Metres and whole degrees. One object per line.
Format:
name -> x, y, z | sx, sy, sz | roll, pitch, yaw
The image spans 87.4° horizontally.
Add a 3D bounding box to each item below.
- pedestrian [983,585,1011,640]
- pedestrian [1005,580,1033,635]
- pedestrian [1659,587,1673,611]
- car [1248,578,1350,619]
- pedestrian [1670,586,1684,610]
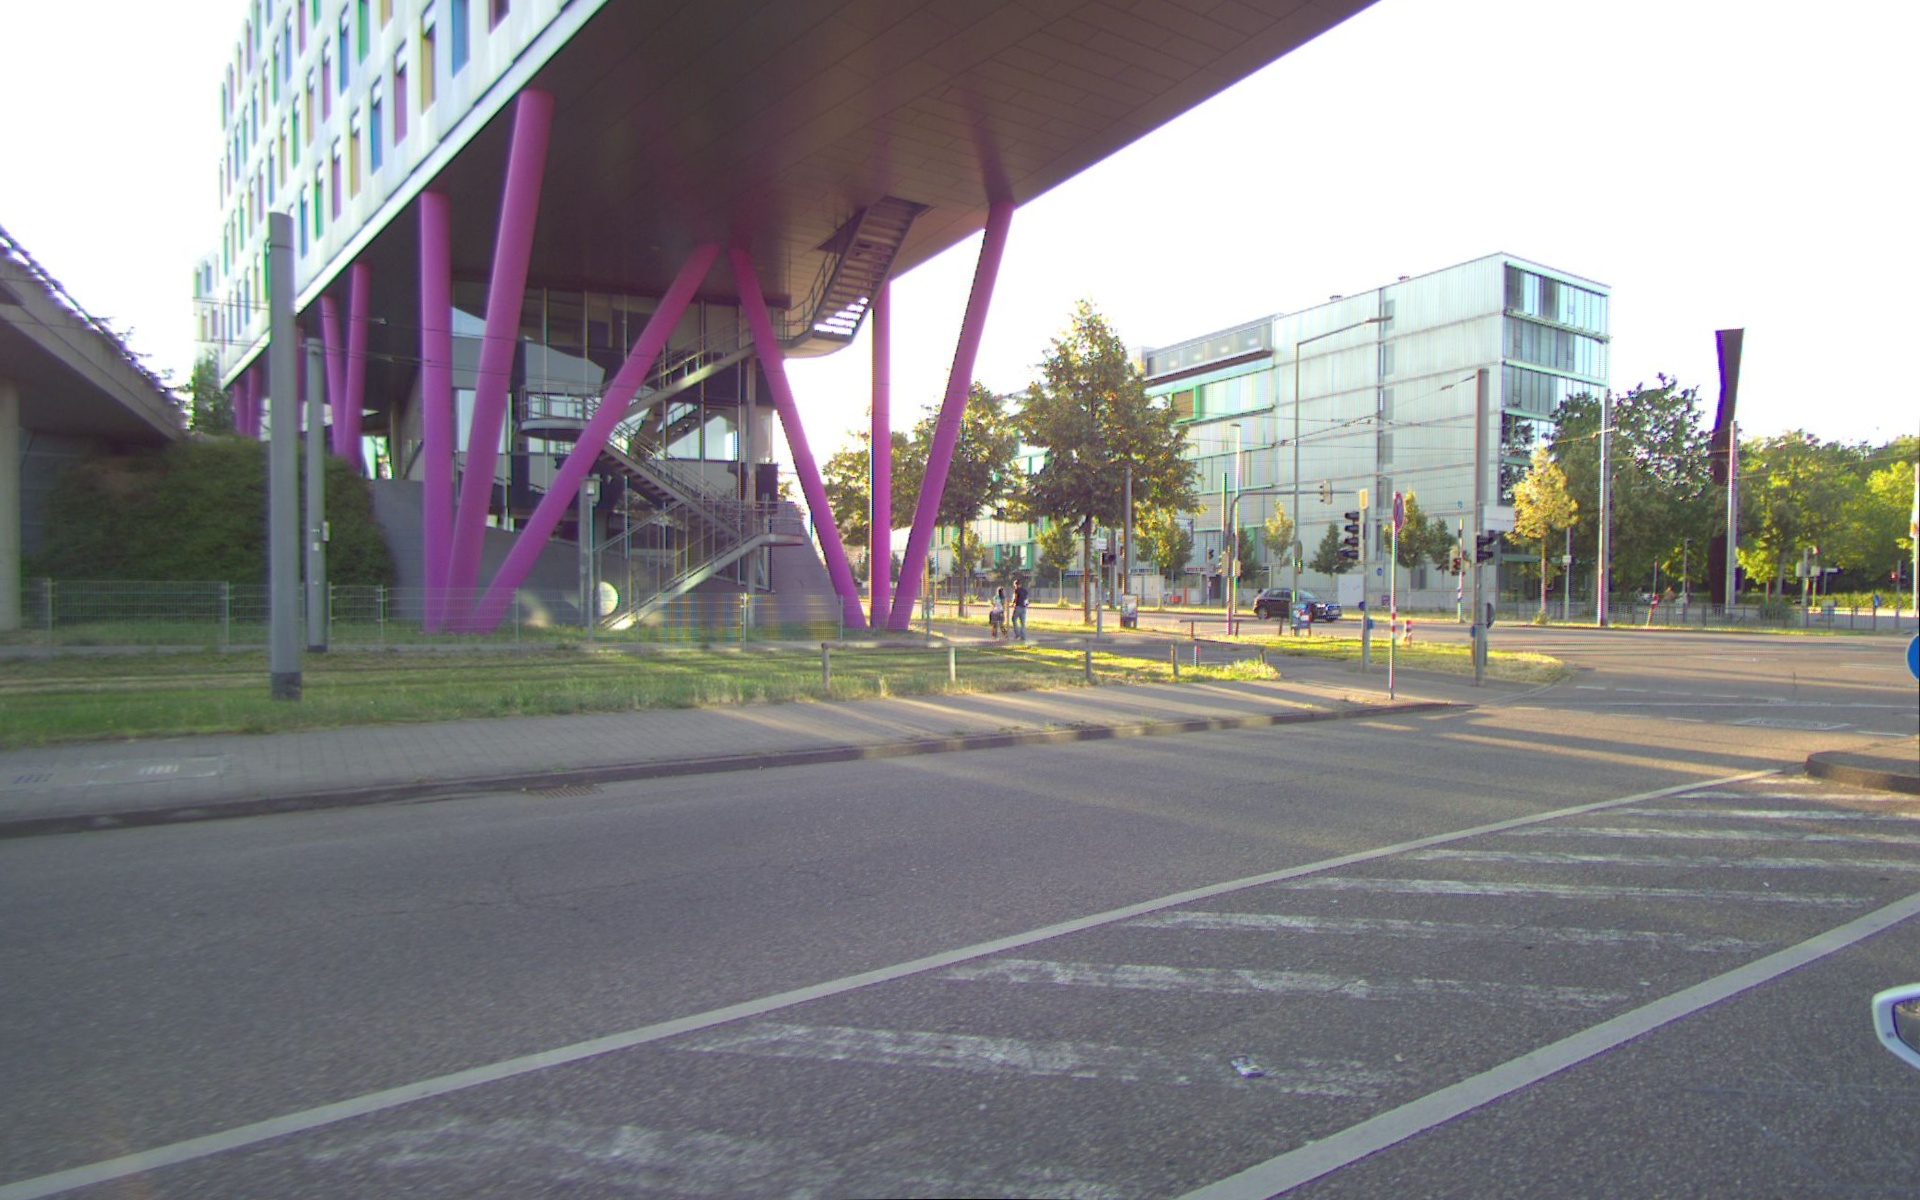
pedestrian -> 1.137, 0.378, 31.157 | 0.699, 1.646, 0.686 | -1, 2, -13
pedestrian -> 1.843, 0.236, 31.293 | 0.699, 1.686, 0.700 | -1, 2, -13
pedestrian -> 60.289, -0.122, 85.766 | 0.686, 2.041, 0.696 | -1, 2, -10
car -> 16.090, -0.086, 47.898 | 1.923, 1.841, 4.444 | -1, 1, -31
pedestrian -> 61.404, -0.162, 85.991 | 0.686, 2.041, 0.696 | -1, 2, -10
